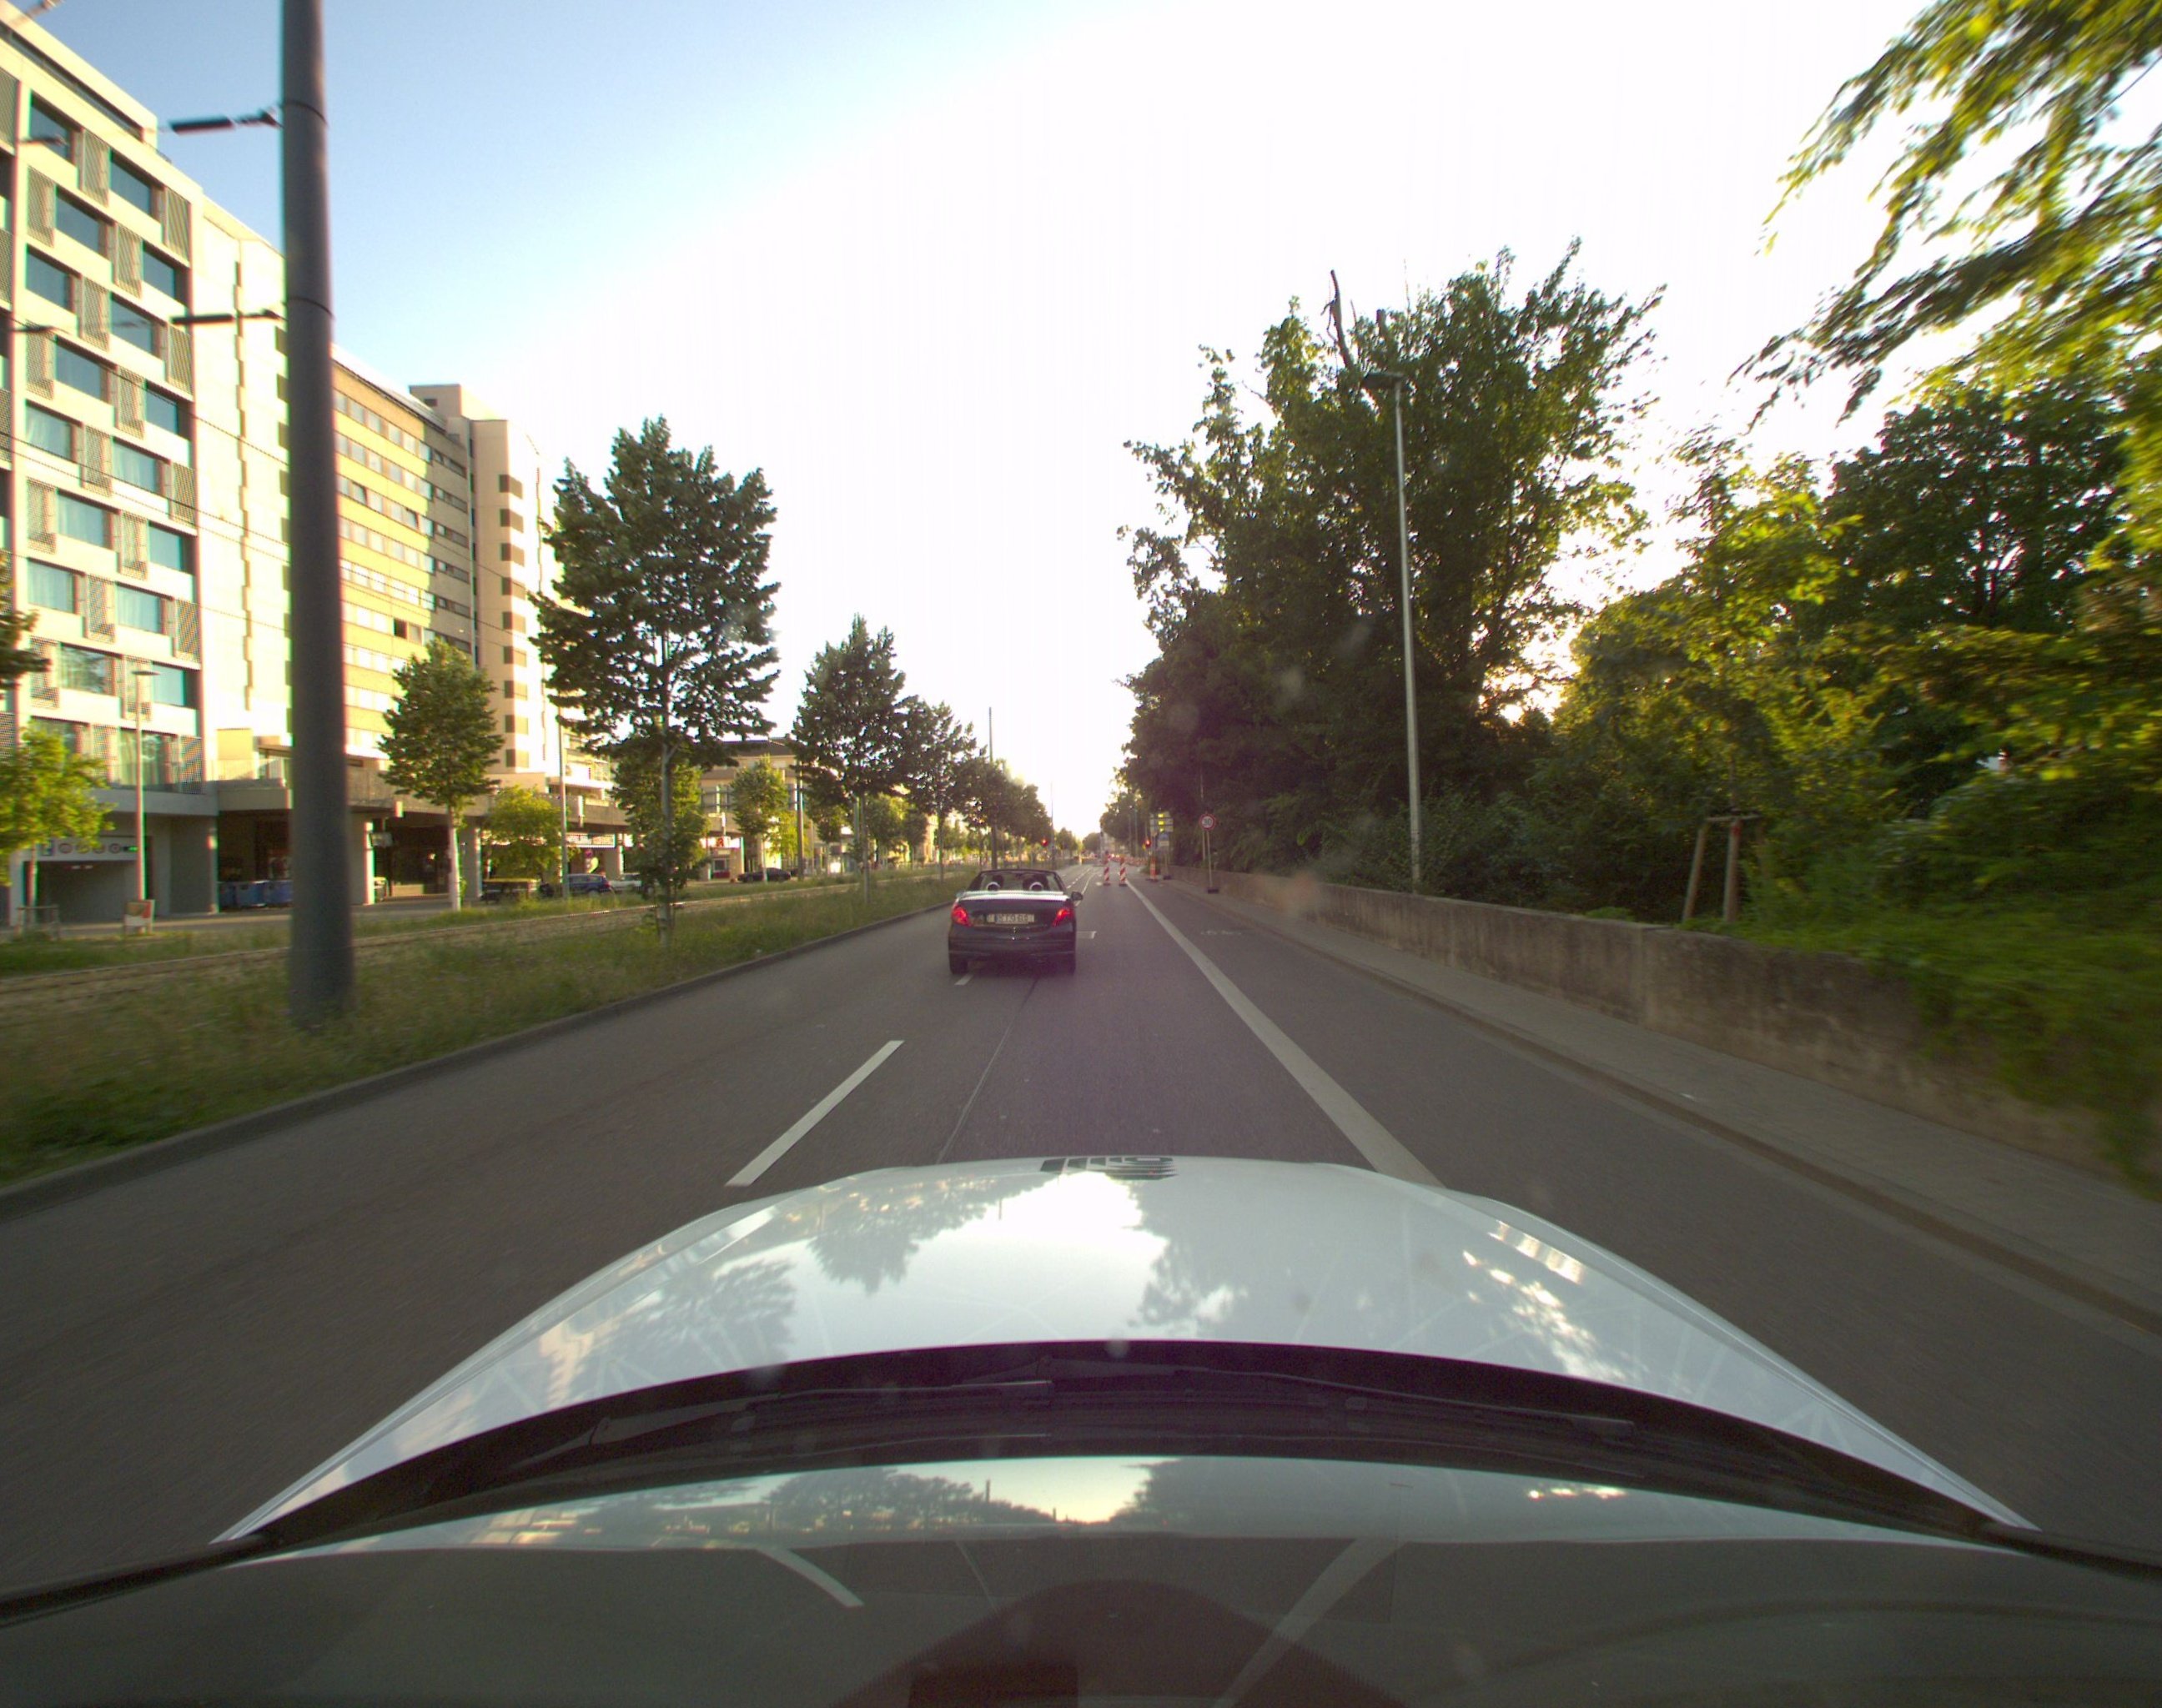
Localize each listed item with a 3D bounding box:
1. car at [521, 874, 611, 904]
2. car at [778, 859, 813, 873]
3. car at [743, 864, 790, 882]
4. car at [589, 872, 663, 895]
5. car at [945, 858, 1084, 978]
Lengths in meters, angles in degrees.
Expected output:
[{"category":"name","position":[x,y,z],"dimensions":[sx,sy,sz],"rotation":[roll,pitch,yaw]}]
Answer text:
[{"category":"car","position":[-30.602,2.047,48.456],"dimensions":[4.307,1.590,1.986],"rotation":[-1,-1,-39]},{"category":"car","position":[-39.754,1.685,113.412],"dimensions":[3.921,1.845,2.191],"rotation":[-2,0,0]},{"category":"car","position":[-29.620,1.774,76.678],"dimensions":[3.751,1.450,1.723],"rotation":[-2,-1,-42]},{"category":"car","position":[-30.729,1.978,55.010],"dimensions":[4.150,1.436,1.805],"rotation":[0,0,-38]},{"category":"car","position":[-1.009,0.802,12.061],"dimensions":[1.716,1.449,3.893],"rotation":[0,0,-6]}]
